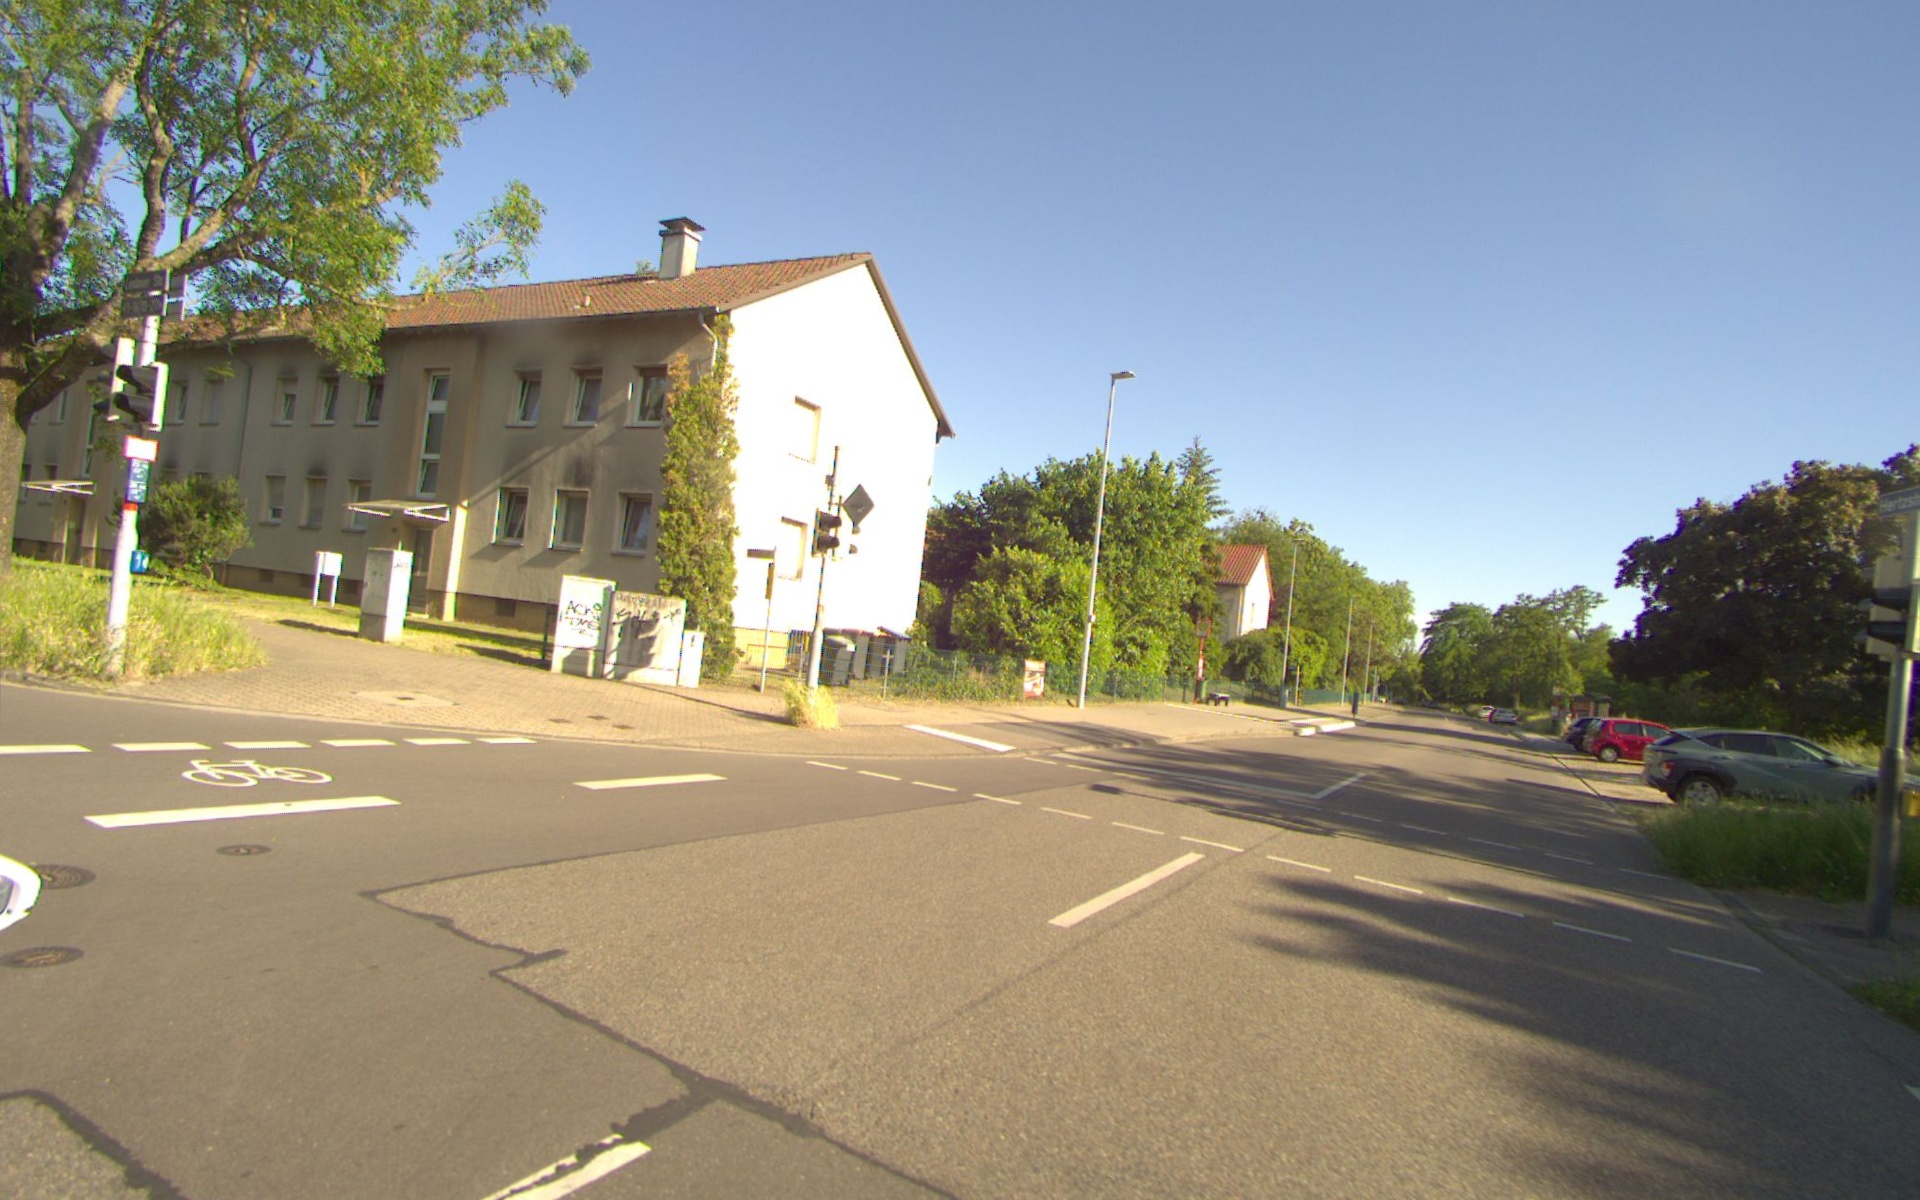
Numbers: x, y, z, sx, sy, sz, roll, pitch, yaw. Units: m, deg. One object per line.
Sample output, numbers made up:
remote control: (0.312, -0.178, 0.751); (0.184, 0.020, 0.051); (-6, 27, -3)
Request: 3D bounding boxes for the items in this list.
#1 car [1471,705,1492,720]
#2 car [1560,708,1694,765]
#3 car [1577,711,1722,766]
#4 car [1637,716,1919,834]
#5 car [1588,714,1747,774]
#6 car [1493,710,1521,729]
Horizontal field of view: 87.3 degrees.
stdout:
car: (60.871, 13.162, 117.447); (1.836, 1.547, 4.201); (3, -5, 24)
car: (26.553, 5.426, 40.231); (4.123, 1.549, 1.868); (7, -2, 28)
car: (25.291, 5.074, 37.074); (4.125, 1.548, 1.870); (2, -5, 28)
car: (15.407, 3.211, 18.764); (4.372, 1.668, 1.869); (2, -5, 28)
car: (23.728, 4.829, 33.931); (4.125, 1.548, 1.870); (2, -5, 28)
car: (49.853, 10.887, 91.767); (1.836, 1.547, 4.201); (3, -5, 24)
